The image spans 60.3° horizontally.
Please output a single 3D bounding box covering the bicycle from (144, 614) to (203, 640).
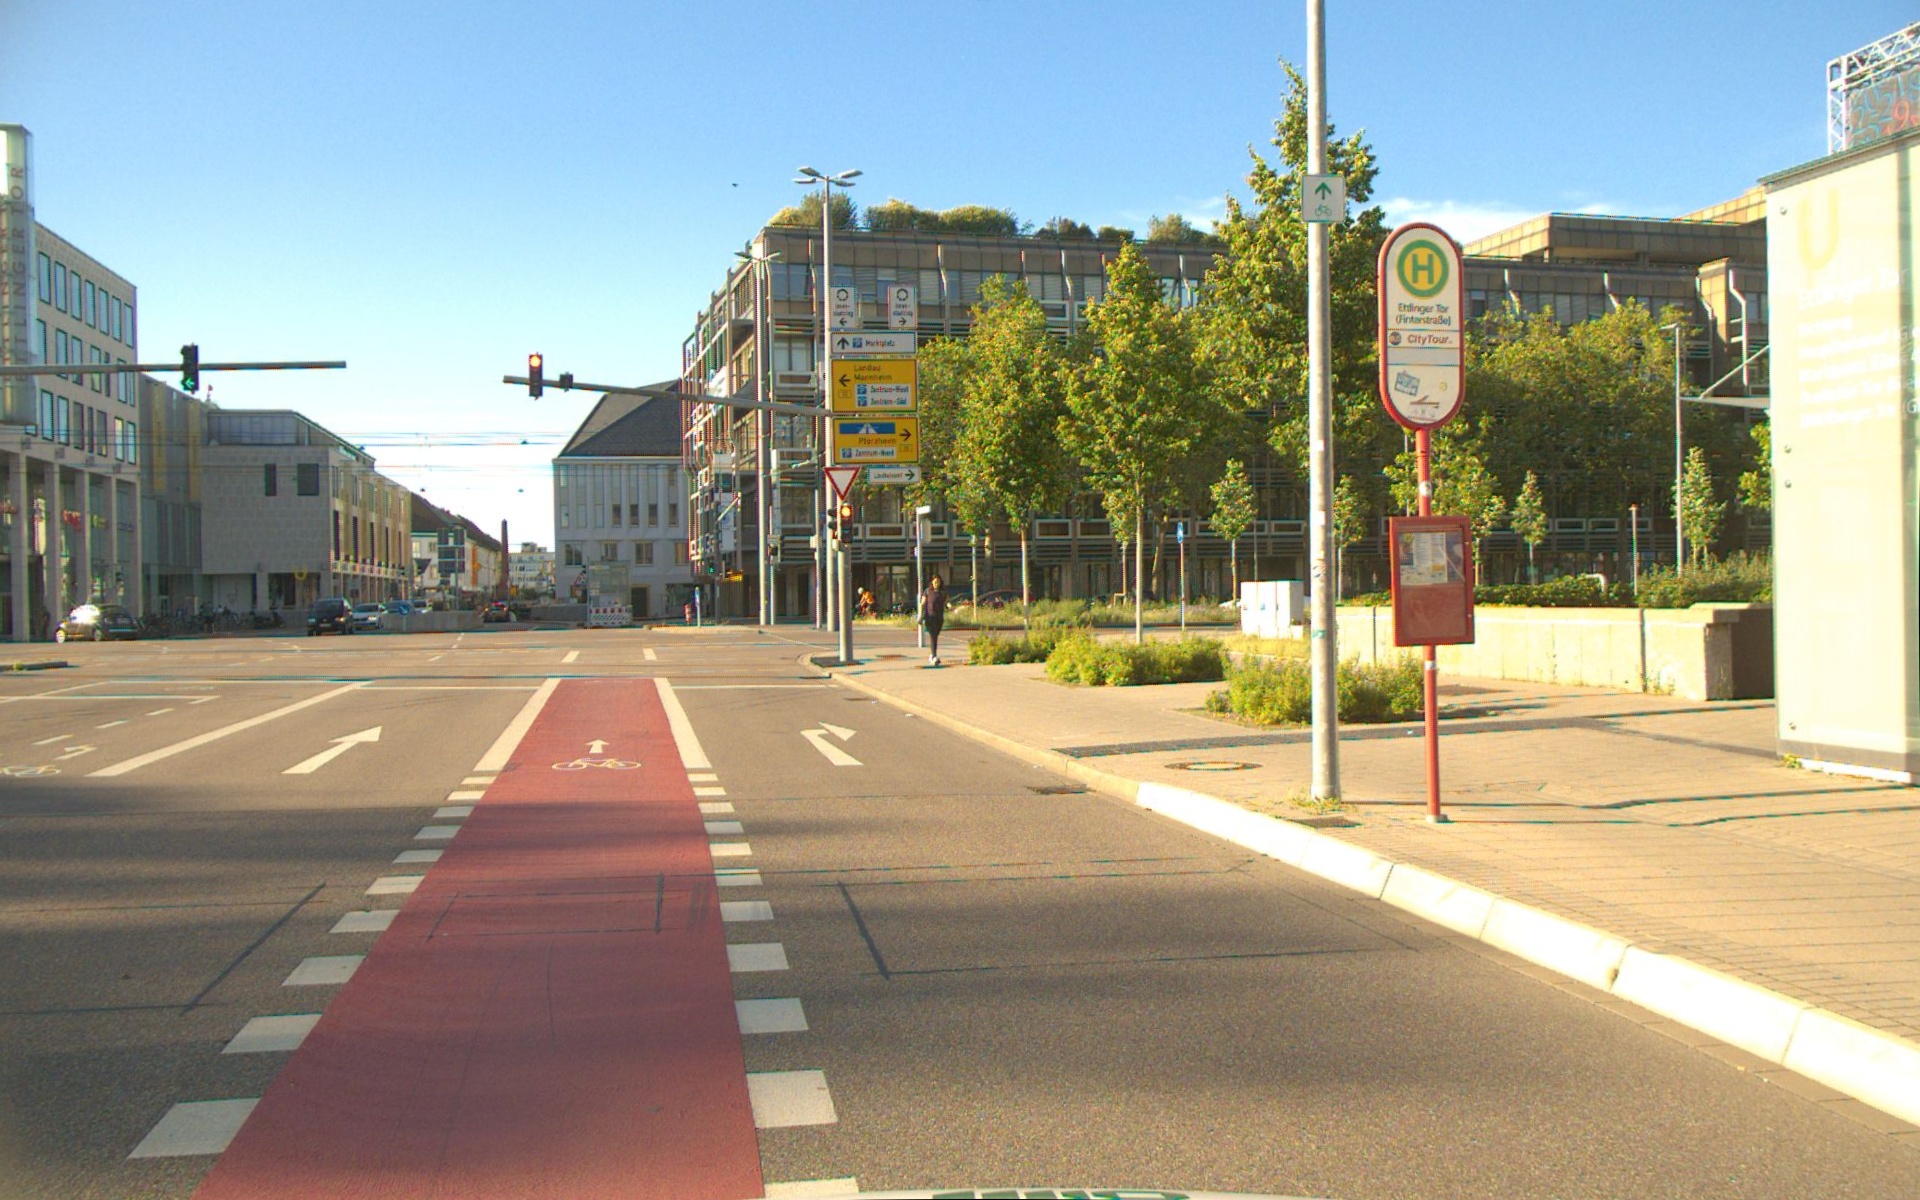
[{"bbox_3d":[-46.330,1.596,97.427,3.000,1.425,0.899,-2,0,-16],"label":"bicycle"}]

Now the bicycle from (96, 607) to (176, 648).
[{"bbox_3d":[-43.498,1.438,87.355,3.561,2.049,1.082,-2,0,-16],"label":"bicycle"}]

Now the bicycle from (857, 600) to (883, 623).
[{"bbox_3d":[-3.885,0.503,71.546,1.056,0.988,0.457,-1,0,-9],"label":"bicycle"}]

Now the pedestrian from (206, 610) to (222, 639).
[{"bbox_3d":[-44.120,1.441,97.786,0.737,1.636,0.616,-1,0,-39],"label":"pedestrian"}]

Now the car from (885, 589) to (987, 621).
[{"bbox_3d":[-1.162,0.229,78.881,4.554,1.380,1.992,-1,2,-15],"label":"car"}]

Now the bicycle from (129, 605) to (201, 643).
[{"bbox_3d":[-45.521,1.365,94.722,3.561,2.049,0.899,-2,0,-16],"label":"bicycle"}]

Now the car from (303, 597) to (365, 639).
[{"bbox_3d":[-29.808,0.821,78.890,1.958,1.772,4.634,-1,2,-11],"label":"car"}]

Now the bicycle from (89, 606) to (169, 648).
[{"bbox_3d":[-43.202,1.409,86.053,3.566,2.049,1.081,-2,0,-19],"label":"bicycle"}]

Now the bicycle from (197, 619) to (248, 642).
[{"bbox_3d":[-49.735,2.051,111.550,3.000,1.425,0.899,-2,0,-16],"label":"bicycle"}]

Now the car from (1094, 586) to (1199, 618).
[{"bbox_3d":[8.860,0.100,78.543,4.554,1.380,1.992,-1,2,-15],"label":"car"}]

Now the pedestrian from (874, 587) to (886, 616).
[{"bbox_3d":[-4.380,0.081,90.257,0.610,1.545,0.653,-1,0,-3],"label":"pedestrian"}]

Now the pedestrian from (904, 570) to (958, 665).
[{"bbox_3d":[-0.551,0.334,31.909,0.804,1.779,1.043,-2,0,10],"label":"pedestrian"}]

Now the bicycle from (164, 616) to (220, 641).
[{"bbox_3d":[-47.238,1.765,101.750,3.000,1.425,0.899,-2,0,-16],"label":"bicycle"}]

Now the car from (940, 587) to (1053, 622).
[{"bbox_3d":[1.561,0.163,71.658,4.554,1.380,1.992,-1,2,-15],"label":"car"}]

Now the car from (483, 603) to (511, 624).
[{"bbox_3d":[-35.734,1.038,127.615,1.962,1.579,3.981,-1,1,-17],"label":"car"}]

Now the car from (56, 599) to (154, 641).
[{"bbox_3d":[-34.144,0.805,66.043,3.706,1.591,1.778,-1,1,30],"label":"car"}]

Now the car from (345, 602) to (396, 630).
[{"bbox_3d":[-32.950,0.862,92.568,1.958,1.380,4.634,-1,2,-11],"label":"car"}]

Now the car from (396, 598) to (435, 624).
[{"bbox_3d":[-36.401,0.712,110.620,1.958,1.651,4.225,-1,1,-12],"label":"car"}]

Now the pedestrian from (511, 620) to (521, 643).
[{"bbox_3d":[-34.557,2.443,128.794,0.703,1.697,0.983,-1,0,-17],"label":"pedestrian"}]

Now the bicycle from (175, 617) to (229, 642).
[{"bbox_3d":[-48.081,1.861,104.933,3.000,1.425,0.899,-2,0,-16],"label":"bicycle"}]

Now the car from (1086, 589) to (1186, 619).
[{"bbox_3d":[8.721,0.181,82.206,4.554,1.380,1.992,-1,2,-15],"label":"car"}]

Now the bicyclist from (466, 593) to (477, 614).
[{"bbox_3d":[-34.823,0.258,117.929,0.733,1.486,0.764,-1,0,-14],"label":"bicyclist"}]

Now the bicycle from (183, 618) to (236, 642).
[{"bbox_3d":[-48.779,1.935,107.538,3.000,1.425,0.899,-2,0,-16],"label":"bicycle"}]

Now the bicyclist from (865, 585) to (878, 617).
[{"bbox_3d":[-3.843,0.057,71.558,0.499,1.361,0.452,-1,0,-9],"label":"bicyclist"}]

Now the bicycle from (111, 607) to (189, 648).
[{"bbox_3d":[-43.493,1.449,88.841,3.561,2.049,1.082,-2,0,-16],"label":"bicycle"}]

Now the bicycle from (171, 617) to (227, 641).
[{"bbox_3d":[-47.650,1.811,103.582,3.000,1.425,0.899,-2,0,-16],"label":"bicycle"}]
